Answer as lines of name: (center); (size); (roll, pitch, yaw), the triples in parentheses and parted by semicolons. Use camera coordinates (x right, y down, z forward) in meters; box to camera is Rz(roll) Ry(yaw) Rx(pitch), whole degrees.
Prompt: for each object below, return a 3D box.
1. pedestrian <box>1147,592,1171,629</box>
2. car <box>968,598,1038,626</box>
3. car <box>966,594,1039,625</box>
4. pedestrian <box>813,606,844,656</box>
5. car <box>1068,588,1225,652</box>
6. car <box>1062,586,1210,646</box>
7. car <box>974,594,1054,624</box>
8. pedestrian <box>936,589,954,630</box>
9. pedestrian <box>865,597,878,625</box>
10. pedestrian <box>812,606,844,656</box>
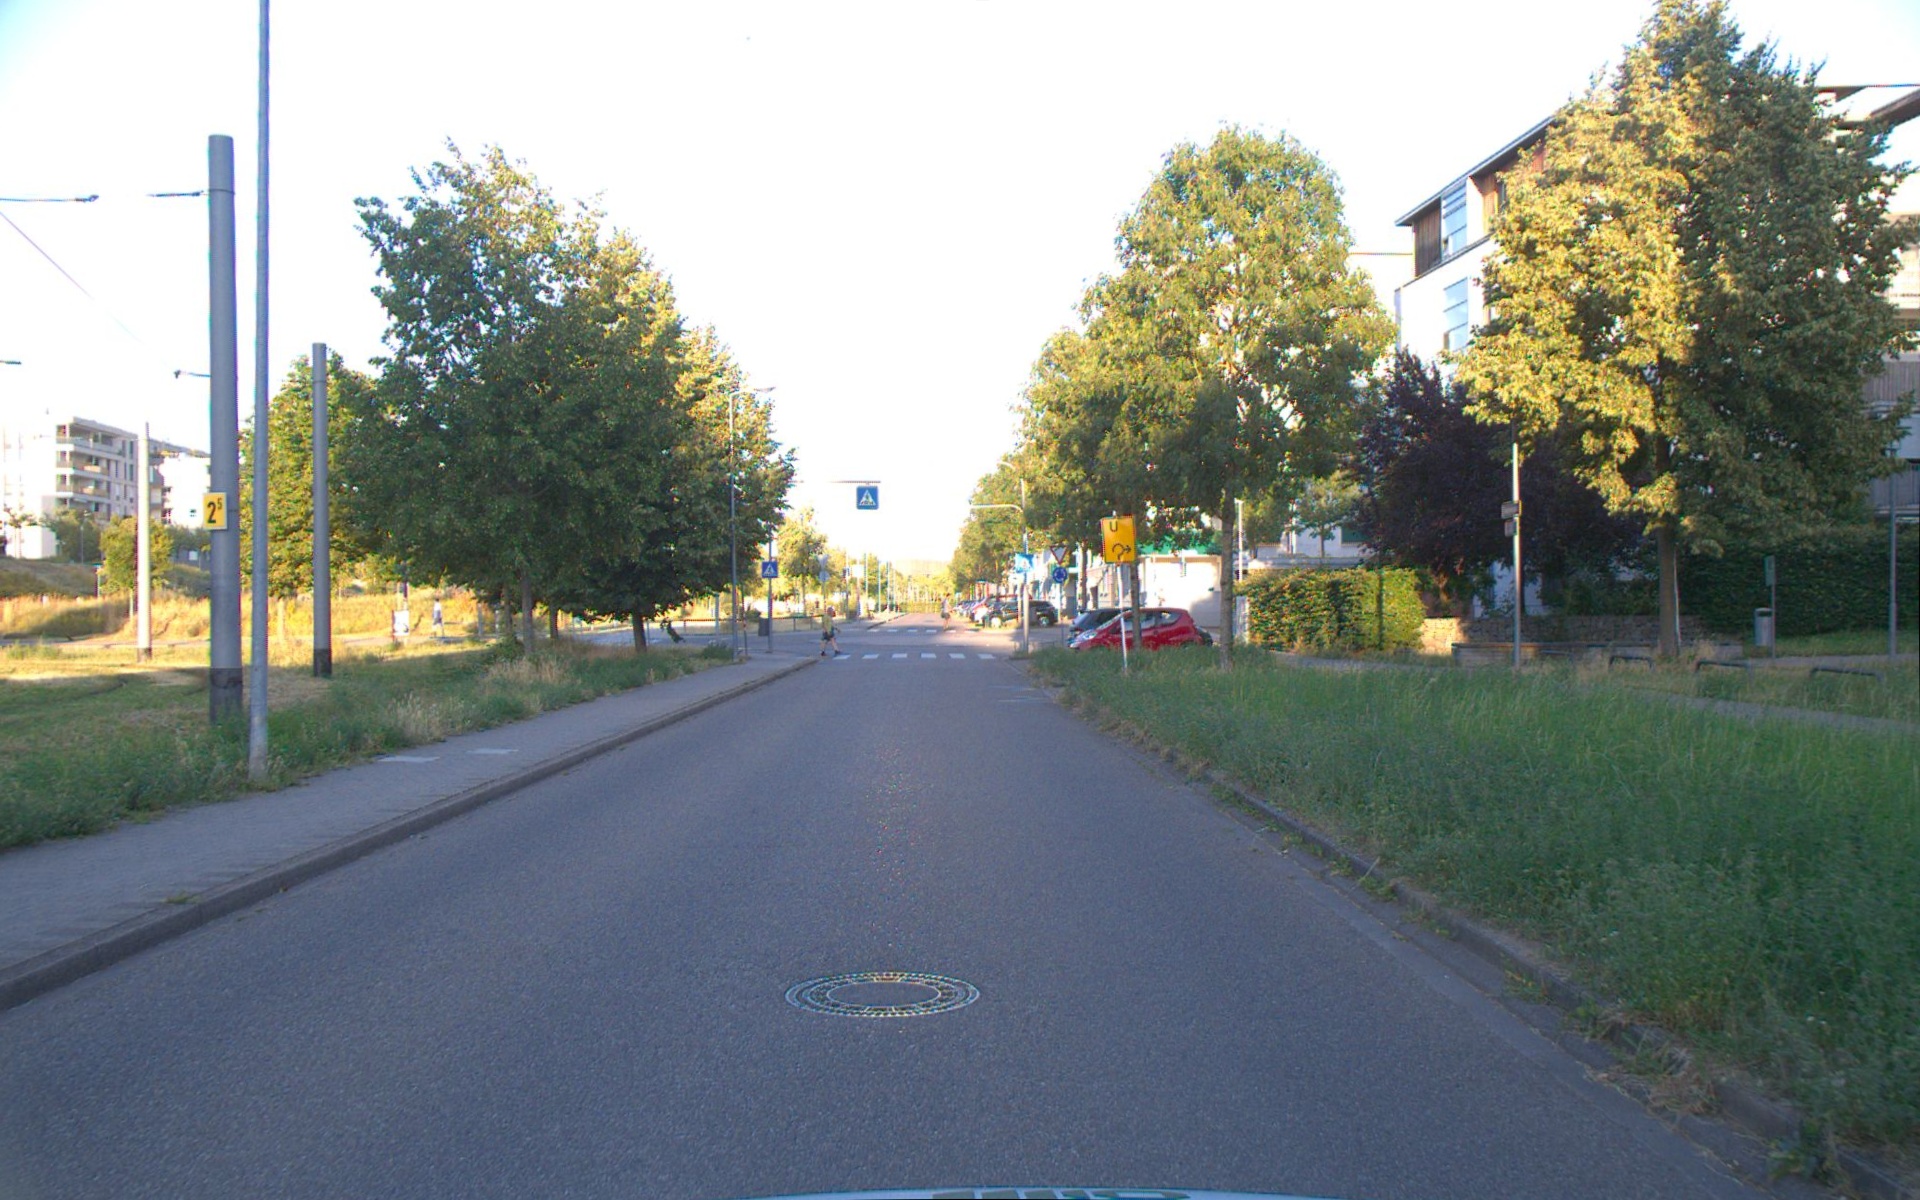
pedestrian: (9.730, 0.511, 80.742); (0.984, 1.819, 0.761); (1, -1, -8)
car: (2.585, 0.735, 100.276); (4.176, 1.624, 2.000); (-1, 0, 0)
car: (2.958, 0.635, 115.569); (4.906, 2.081, 2.247); (-1, 0, -6)
pedestrian: (-4.629, 1.072, 58.133); (0.966, 1.723, 0.698); (-1, 0, -13)
car: (4.693, 0.505, 41.989); (3.727, 1.535, 1.678); (-1, 0, -3)
car: (4.715, 0.420, 44.613); (3.727, 1.535, 1.678); (-1, 0, -3)
car: (2.985, 0.488, 92.377); (4.392, 1.624, 2.000); (-1, 0, 0)
pedestrian: (-0.772, 0.481, 84.944); (0.828, 2.049, 0.944); (-1, 0, 4)
pedestrian: (-6.543, 0.809, 122.580); (0.851, 2.049, 0.787); (-1, 0, -12)
pedestrian: (-4.585, 1.063, 57.338); (1.001, 1.723, 0.757); (-1, 0, -12)
